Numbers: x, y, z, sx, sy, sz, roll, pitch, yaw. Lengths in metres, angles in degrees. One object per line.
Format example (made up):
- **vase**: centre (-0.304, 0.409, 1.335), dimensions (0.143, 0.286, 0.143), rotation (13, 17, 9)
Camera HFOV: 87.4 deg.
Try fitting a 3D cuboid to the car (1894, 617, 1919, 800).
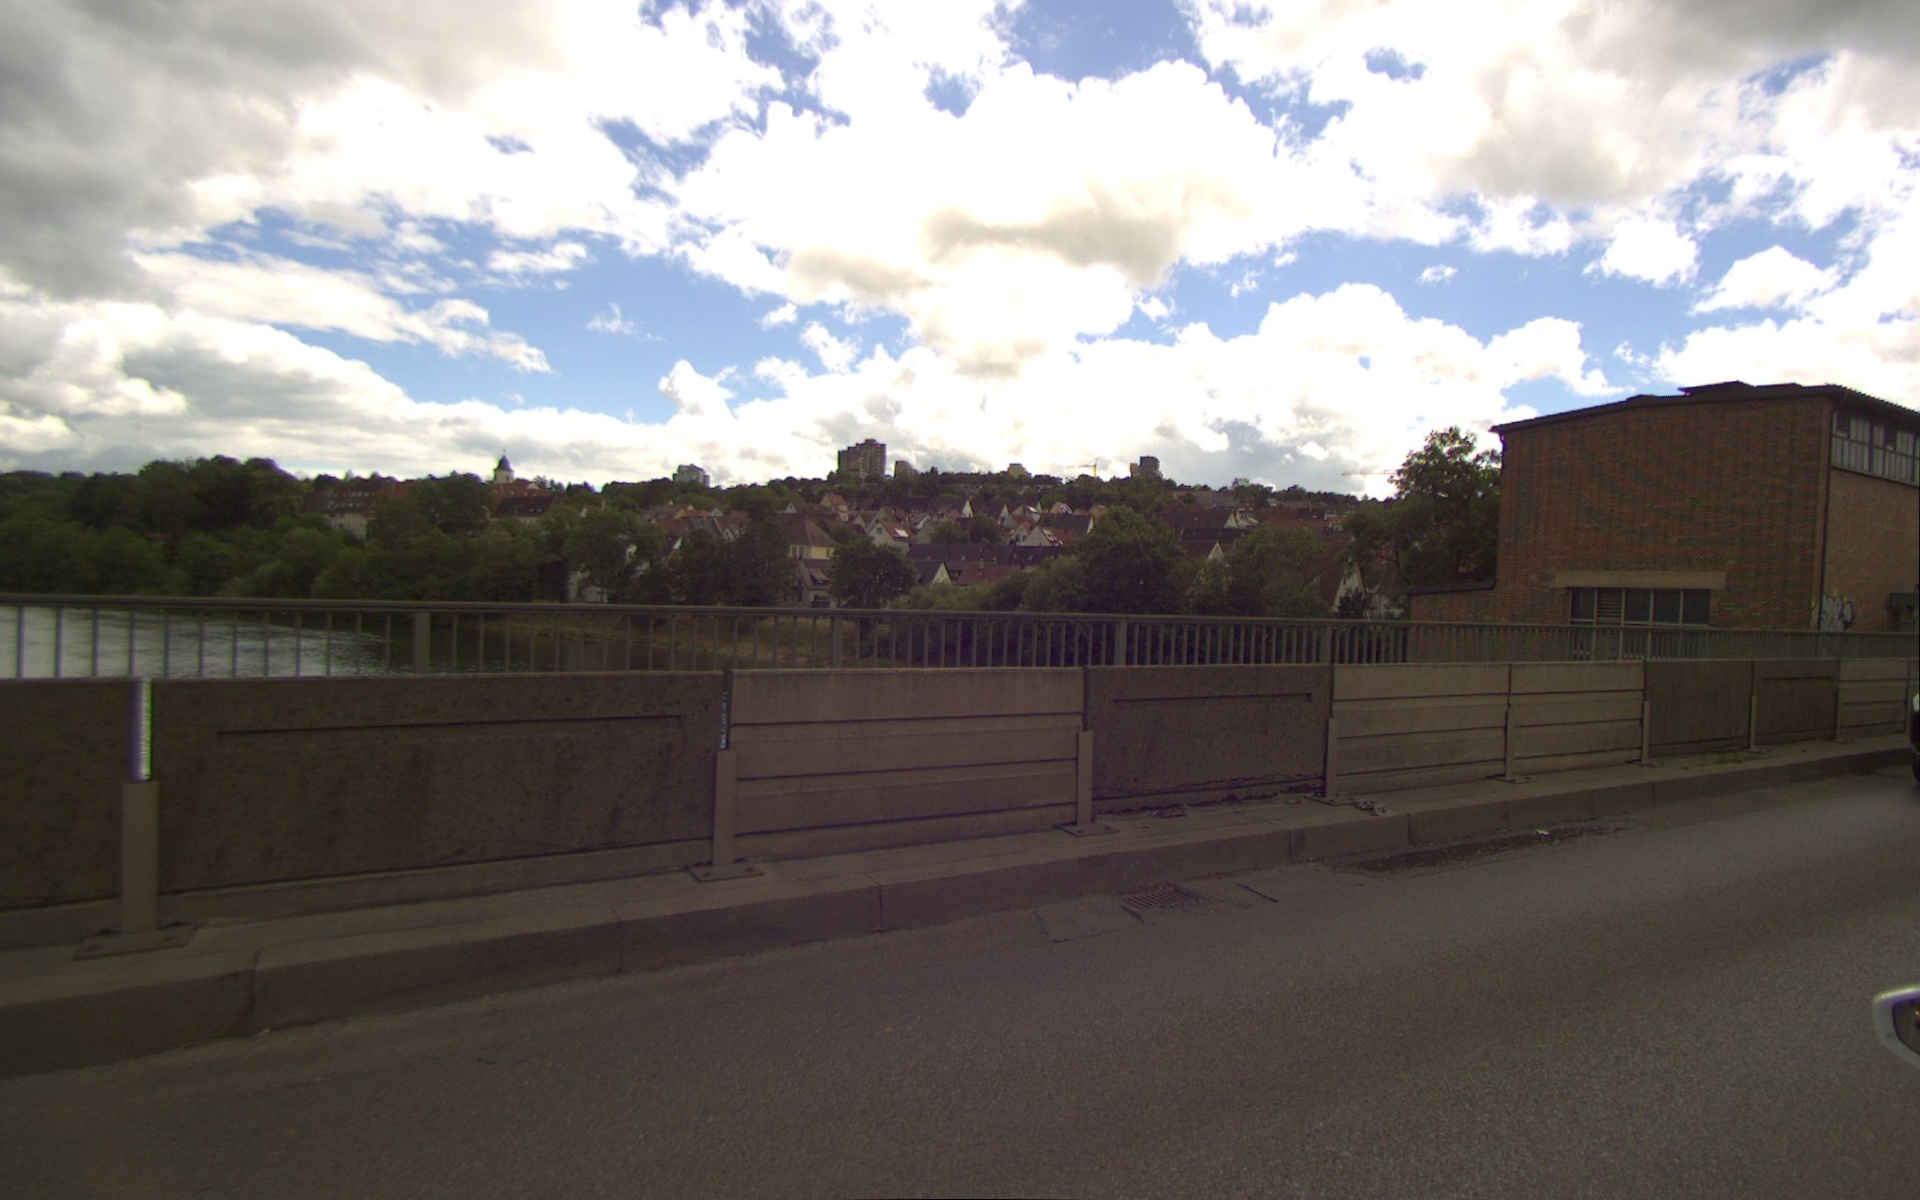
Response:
- **car**: centre (10.808, 1.021, 9.641), dimensions (3.955, 1.667, 1.707), rotation (1, -1, -31)
